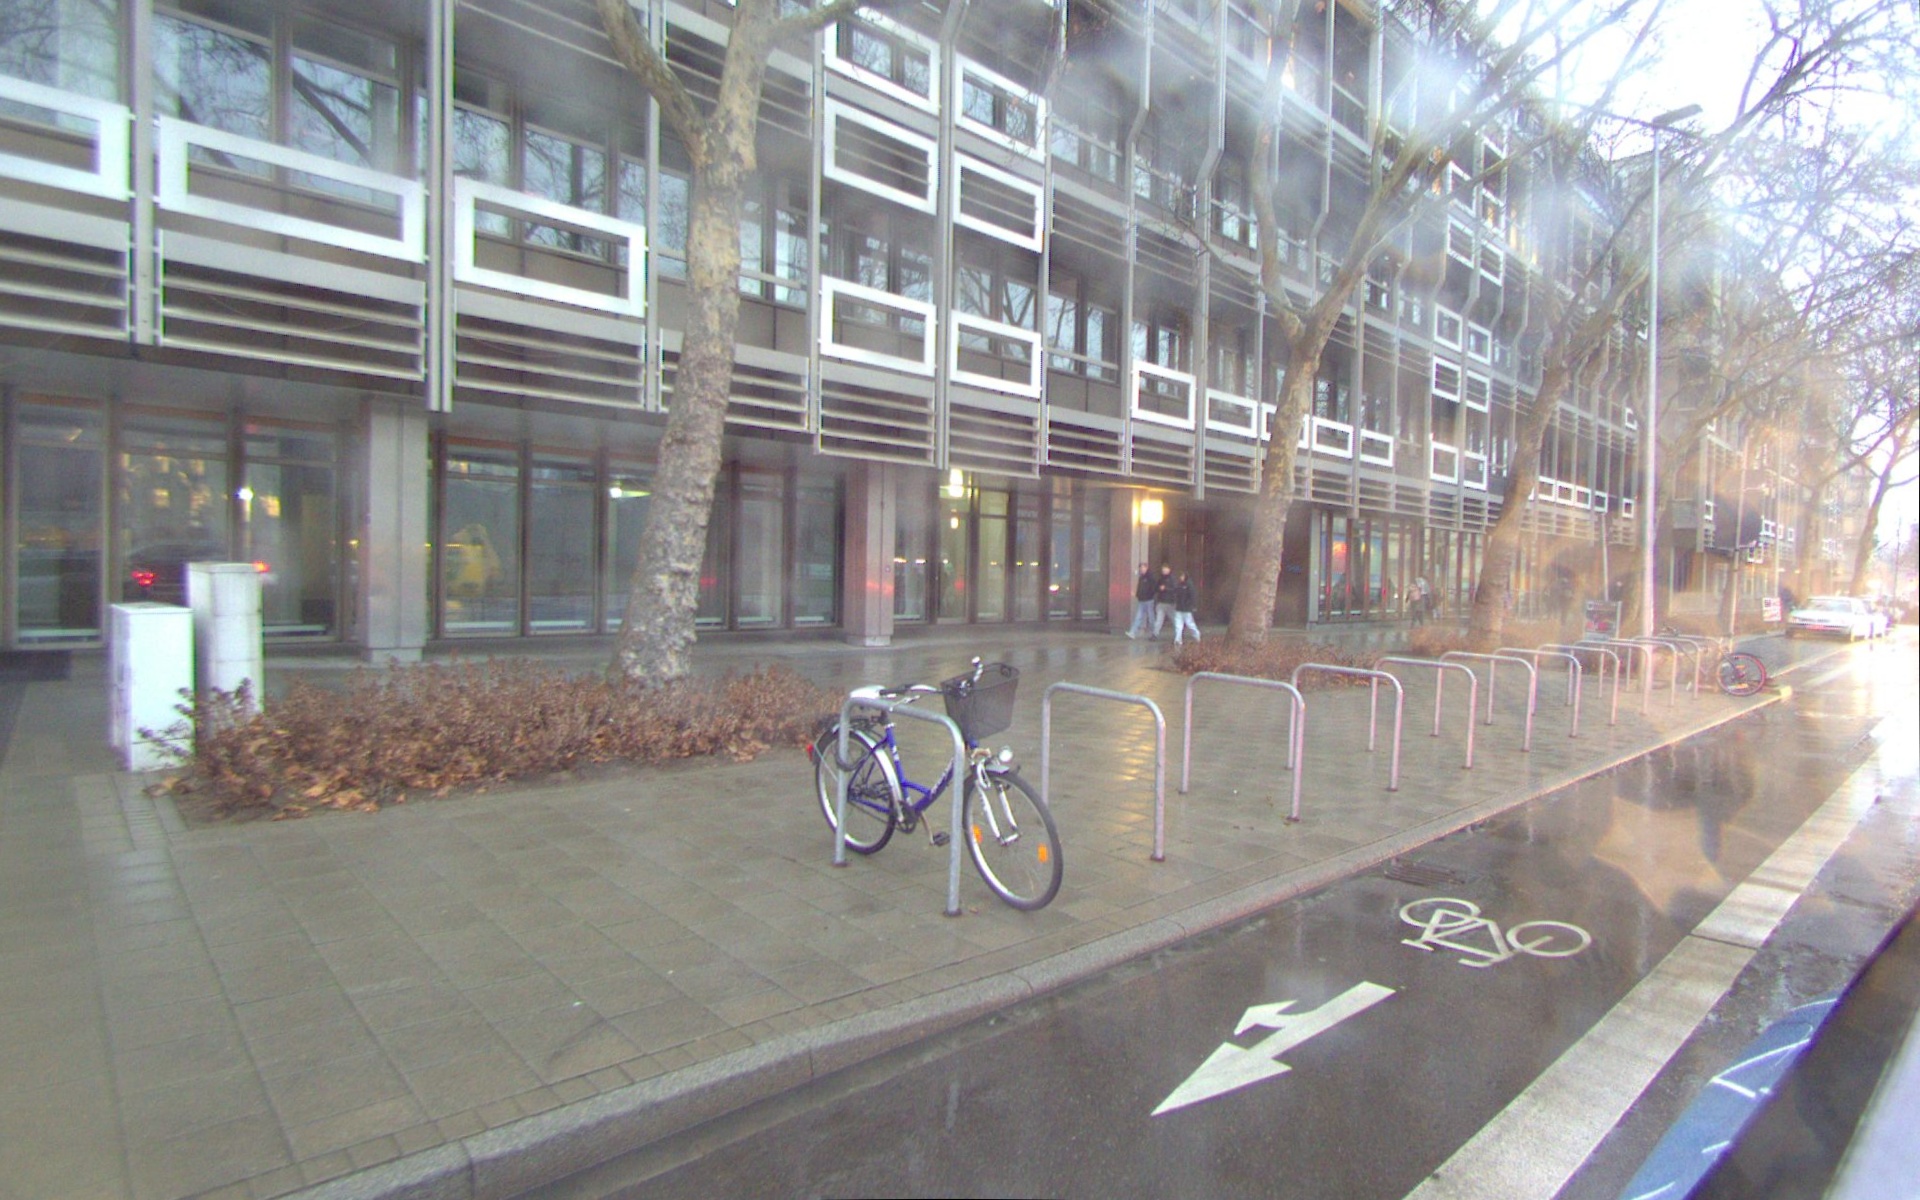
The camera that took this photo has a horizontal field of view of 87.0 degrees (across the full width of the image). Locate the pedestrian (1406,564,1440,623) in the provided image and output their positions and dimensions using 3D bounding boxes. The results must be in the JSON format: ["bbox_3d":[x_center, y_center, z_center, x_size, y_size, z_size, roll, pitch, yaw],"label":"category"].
[{"bbox_3d":[13.494,-0.191,29.482,0.767,1.677,0.617,0,1,-41],"label":"pedestrian"}]

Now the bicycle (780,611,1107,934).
[{"bbox_3d":[-0.159,0.698,4.797,0.428,1.162,1.752,0,4,-44],"label":"bicycle"}]

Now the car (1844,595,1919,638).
[{"bbox_3d":[35.546,0.599,38.785,3.930,1.504,1.997,-1,1,-41],"label":"car"}]

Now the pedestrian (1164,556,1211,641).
[{"bbox_3d":[4.674,-0.038,20.760,0.858,1.689,0.501,0,2,-41],"label":"pedestrian"}]

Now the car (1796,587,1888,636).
[{"bbox_3d":[29.388,0.331,33.703,3.859,1.449,1.609,0,4,-39],"label":"car"}]

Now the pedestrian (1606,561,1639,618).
[{"bbox_3d":[23.916,-0.386,36.531,0.723,2.039,0.821,0,1,-43],"label":"pedestrian"}]

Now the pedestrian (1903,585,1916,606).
[{"bbox_3d":[93.814,-0.480,99.964,0.758,2.039,0.837,-1,0,-42],"label":"pedestrian"}]

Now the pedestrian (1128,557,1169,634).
[{"bbox_3d":[3.997,-0.104,21.489,0.733,1.583,0.484,0,1,-42],"label":"pedestrian"}]

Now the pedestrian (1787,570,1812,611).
[{"bbox_3d":[42.868,-0.499,51.665,1.007,2.039,0.790,0,1,-41],"label":"pedestrian"}]

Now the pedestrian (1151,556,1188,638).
[{"bbox_3d":[4.376,-0.067,21.147,0.701,1.689,0.379,0,1,-41],"label":"pedestrian"}]

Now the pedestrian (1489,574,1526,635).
[{"bbox_3d":[14.434,0.105,26.668,0.604,1.563,0.649,0,1,-40],"label":"pedestrian"}]

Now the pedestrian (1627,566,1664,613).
[{"bbox_3d":[23.370,-0.361,34.506,0.824,1.543,0.865,0,2,-44],"label":"pedestrian"}]

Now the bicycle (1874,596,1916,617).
[{"bbox_3d":[46.953,0.329,50.832,1.518,1.049,0.462,0,1,42],"label":"bicycle"}]

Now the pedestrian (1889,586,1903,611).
[{"bbox_3d":[78.778,-0.127,85.186,0.758,2.039,0.837,-1,0,-42],"label":"pedestrian"}]

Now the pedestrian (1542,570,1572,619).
[{"bbox_3d":[20.587,-0.193,34.927,0.632,1.675,0.839,1,1,15],"label":"pedestrian"}]

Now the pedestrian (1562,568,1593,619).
[{"bbox_3d":[21.294,-0.228,34.924,0.651,1.739,0.839,1,1,16],"label":"pedestrian"}]

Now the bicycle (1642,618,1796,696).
[{"bbox_3d":[11.610,0.842,15.522,0.607,0.986,1.789,0,3,-44],"label":"bicycle"}]
